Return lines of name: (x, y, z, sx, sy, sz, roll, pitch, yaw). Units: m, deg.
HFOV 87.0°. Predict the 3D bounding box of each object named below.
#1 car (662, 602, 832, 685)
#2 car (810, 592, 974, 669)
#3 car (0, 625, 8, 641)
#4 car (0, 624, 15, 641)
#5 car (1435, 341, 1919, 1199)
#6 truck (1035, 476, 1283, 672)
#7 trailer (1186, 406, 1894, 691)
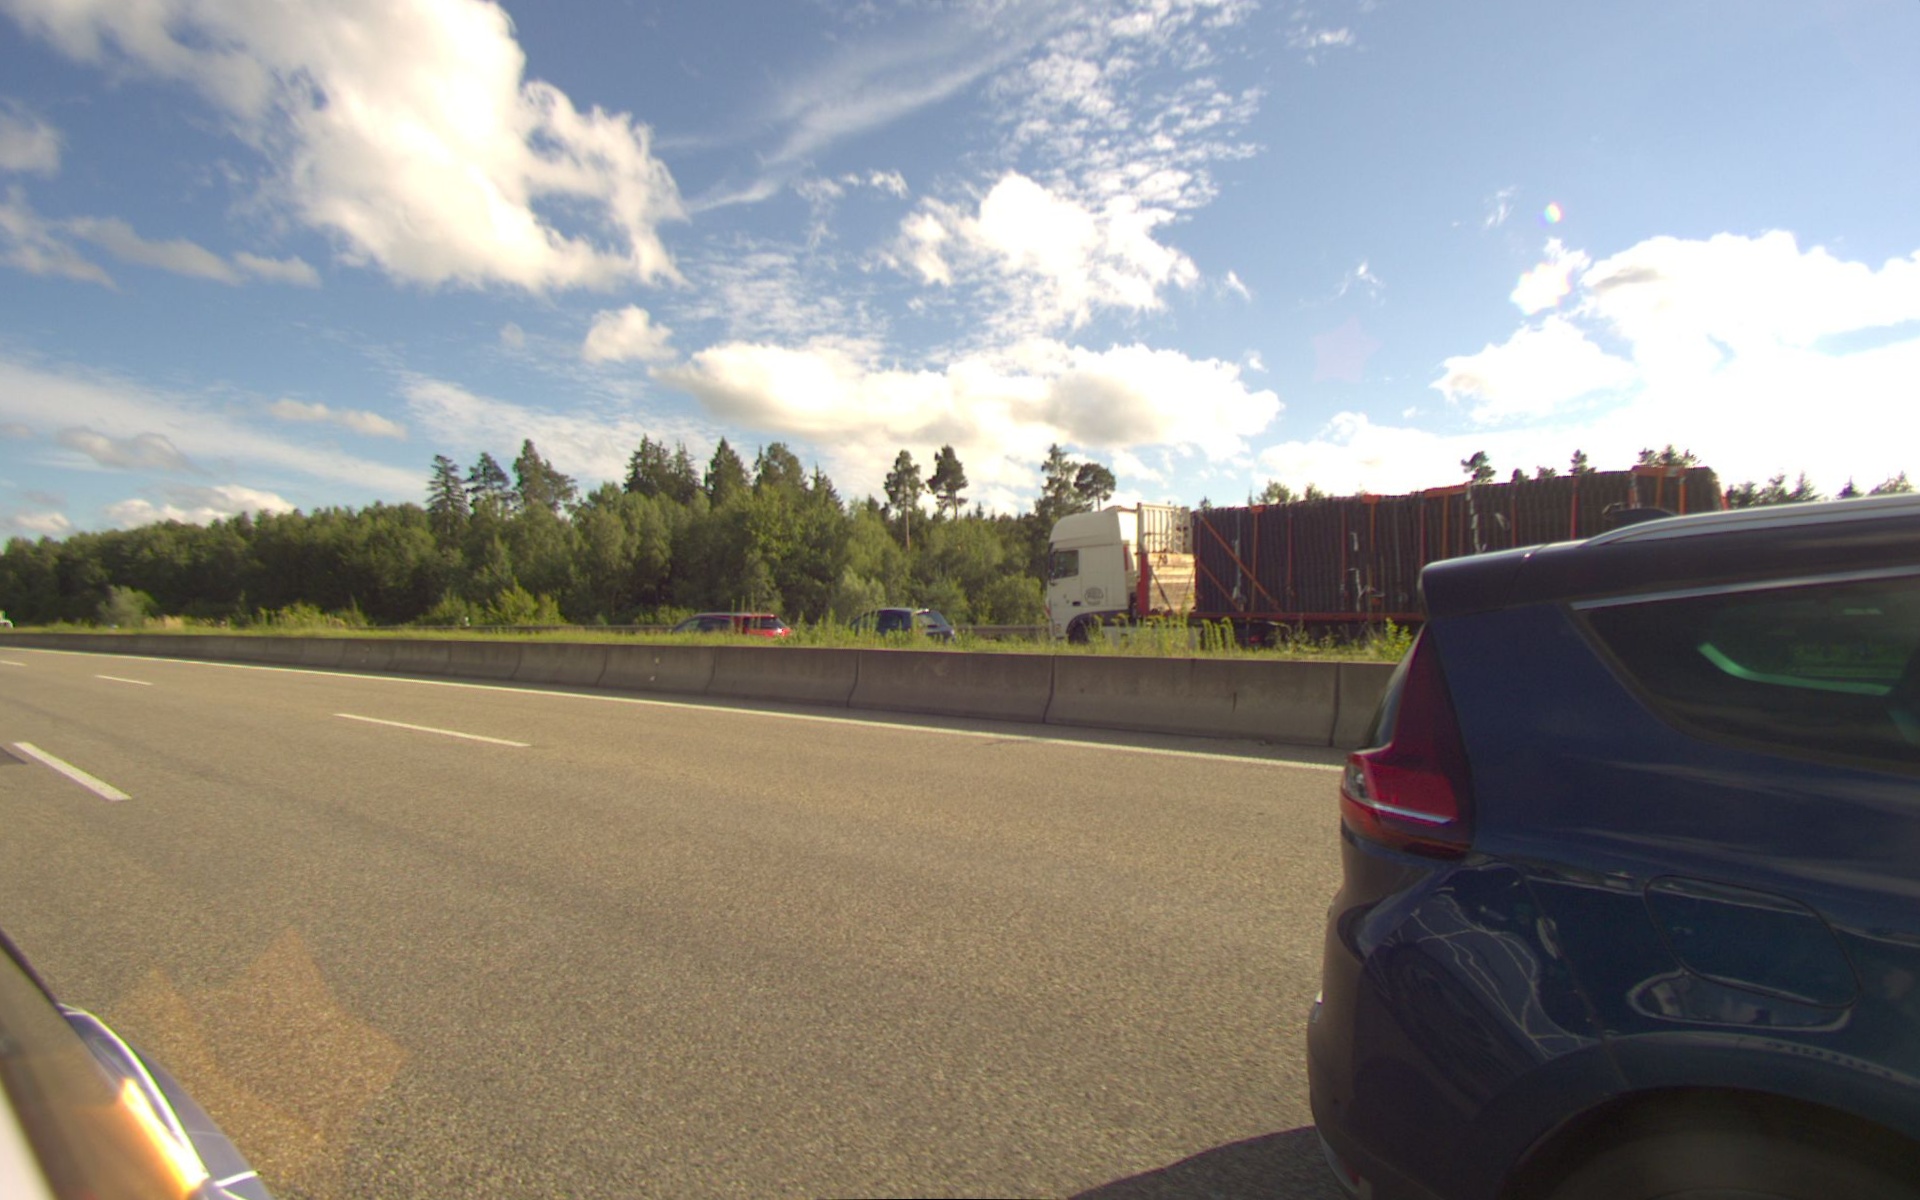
car: (-5.151, 1.001, 24.266, 3.998, 1.816, 1.973, -2, -1, 41)
car: (-1.807, 0.762, 26.130, 3.998, 1.816, 1.973, -2, -1, 41)
car: (-121.784, 4.192, 127.596, 5.381, 2.029, 1.974, -2, -1, 39)
car: (-118.258, 4.069, 124.669, 5.381, 2.029, 1.974, -2, -1, 39)
car: (3.114, 0.501, 0.865, 4.527, 1.720, 1.973, -2, -1, 41)
truck: (4.964, -0.533, 25.662, 5.461, 4.425, 2.773, -2, -1, 41)
trailer: (10.736, -0.682, 20.668, 12.043, 4.425, 2.773, -2, -1, 41)
